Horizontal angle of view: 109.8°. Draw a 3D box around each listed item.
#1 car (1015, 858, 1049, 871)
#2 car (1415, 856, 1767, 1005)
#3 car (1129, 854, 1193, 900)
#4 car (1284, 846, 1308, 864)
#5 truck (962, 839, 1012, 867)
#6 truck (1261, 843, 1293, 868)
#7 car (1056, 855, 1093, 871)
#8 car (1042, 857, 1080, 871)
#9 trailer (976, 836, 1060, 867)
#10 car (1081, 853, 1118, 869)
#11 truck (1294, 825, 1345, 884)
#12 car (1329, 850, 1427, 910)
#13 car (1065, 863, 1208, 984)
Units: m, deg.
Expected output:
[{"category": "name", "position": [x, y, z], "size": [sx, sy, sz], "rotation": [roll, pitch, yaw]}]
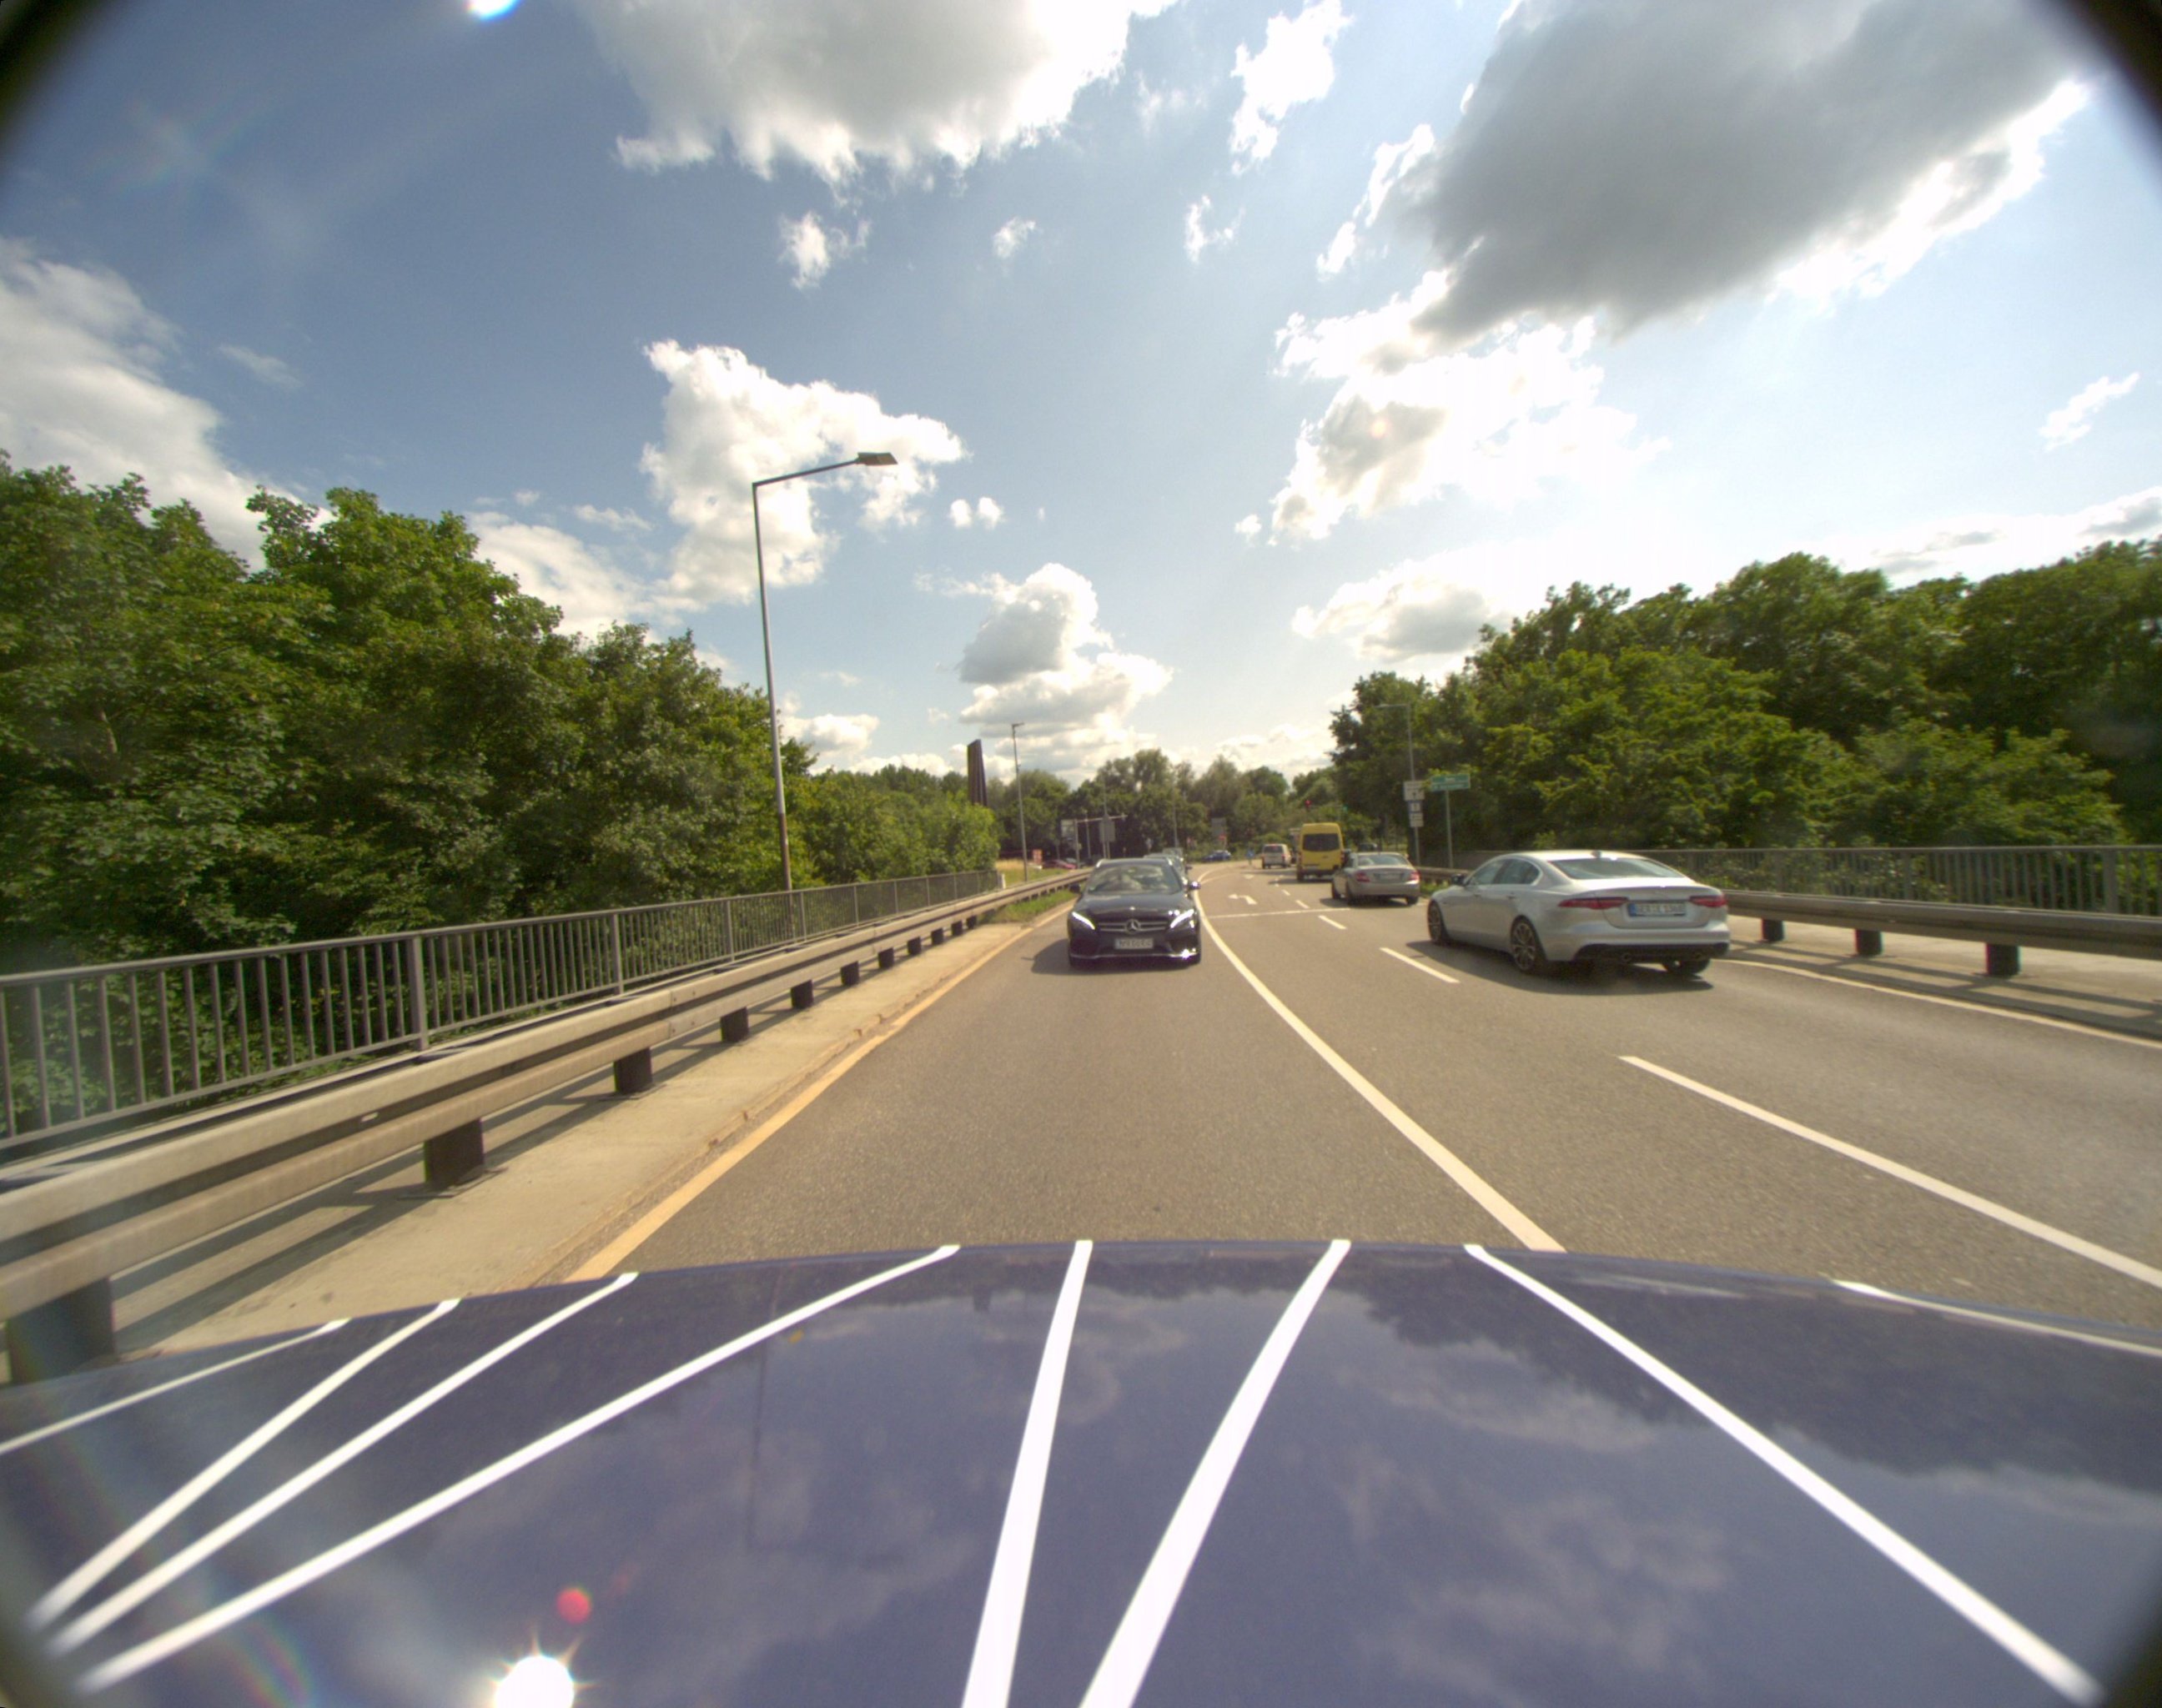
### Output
[{"category": "car", "position": [-6.108, 1.281, 93.949], "size": [4.205, 1.367, 1.649], "rotation": [-4, -1, 41]}, {"category": "car", "position": [6.036, 0.776, 9.806], "size": [1.798, 1.367, 4.581], "rotation": [-2, 1, 5]}, {"category": "car", "position": [2.892, 0.755, 26.612], "size": [1.857, 1.355, 4.002], "rotation": [-1, 1, 11]}, {"category": "car", "position": [19.237, 0.082, 67.881], "size": [1.700, 1.548, 3.827], "rotation": [-2, 0, 21]}, {"category": "truck", "position": [-14.002, -0.143, 113.165], "size": [6.804, 3.822, 2.783], "rotation": [-3, 0, 25]}, {"category": "truck", "position": [15.961, 0.072, 61.714], "size": [1.962, 1.902, 5.377], "rotation": [-2, 0, 20]}, {"category": "car", "position": [-0.778, 1.058, 89.741], "size": [4.205, 1.636, 1.841], "rotation": [-4, -1, 41]}, {"category": "car", "position": [-2.261, 1.111, 86.058], "size": [4.205, 1.367, 1.762], "rotation": [-4, -1, 41]}, {"category": "trailer", "position": [-9.253, -0.370, 110.904], "size": [12.292, 3.827, 2.785], "rotation": [-3, 0, 25]}, {"category": "car", "position": [2.282, 0.847, 93.141], "size": [4.284, 1.607, 1.848], "rotation": [-4, 0, 41]}, {"category": "truck", "position": [11.368, -0.004, 36.535], "size": [1.996, 2.606, 6.110], "rotation": [0, 0, 14]}, {"category": "car", "position": [8.175, 0.646, 21.299], "size": [1.751, 1.441, 4.340], "rotation": [-1, 1, 10]}, {"category": "car", "position": [0.897, 0.910, 11.812], "size": [1.794, 1.427, 4.371], "rotation": [-1, 1, 5]}]
